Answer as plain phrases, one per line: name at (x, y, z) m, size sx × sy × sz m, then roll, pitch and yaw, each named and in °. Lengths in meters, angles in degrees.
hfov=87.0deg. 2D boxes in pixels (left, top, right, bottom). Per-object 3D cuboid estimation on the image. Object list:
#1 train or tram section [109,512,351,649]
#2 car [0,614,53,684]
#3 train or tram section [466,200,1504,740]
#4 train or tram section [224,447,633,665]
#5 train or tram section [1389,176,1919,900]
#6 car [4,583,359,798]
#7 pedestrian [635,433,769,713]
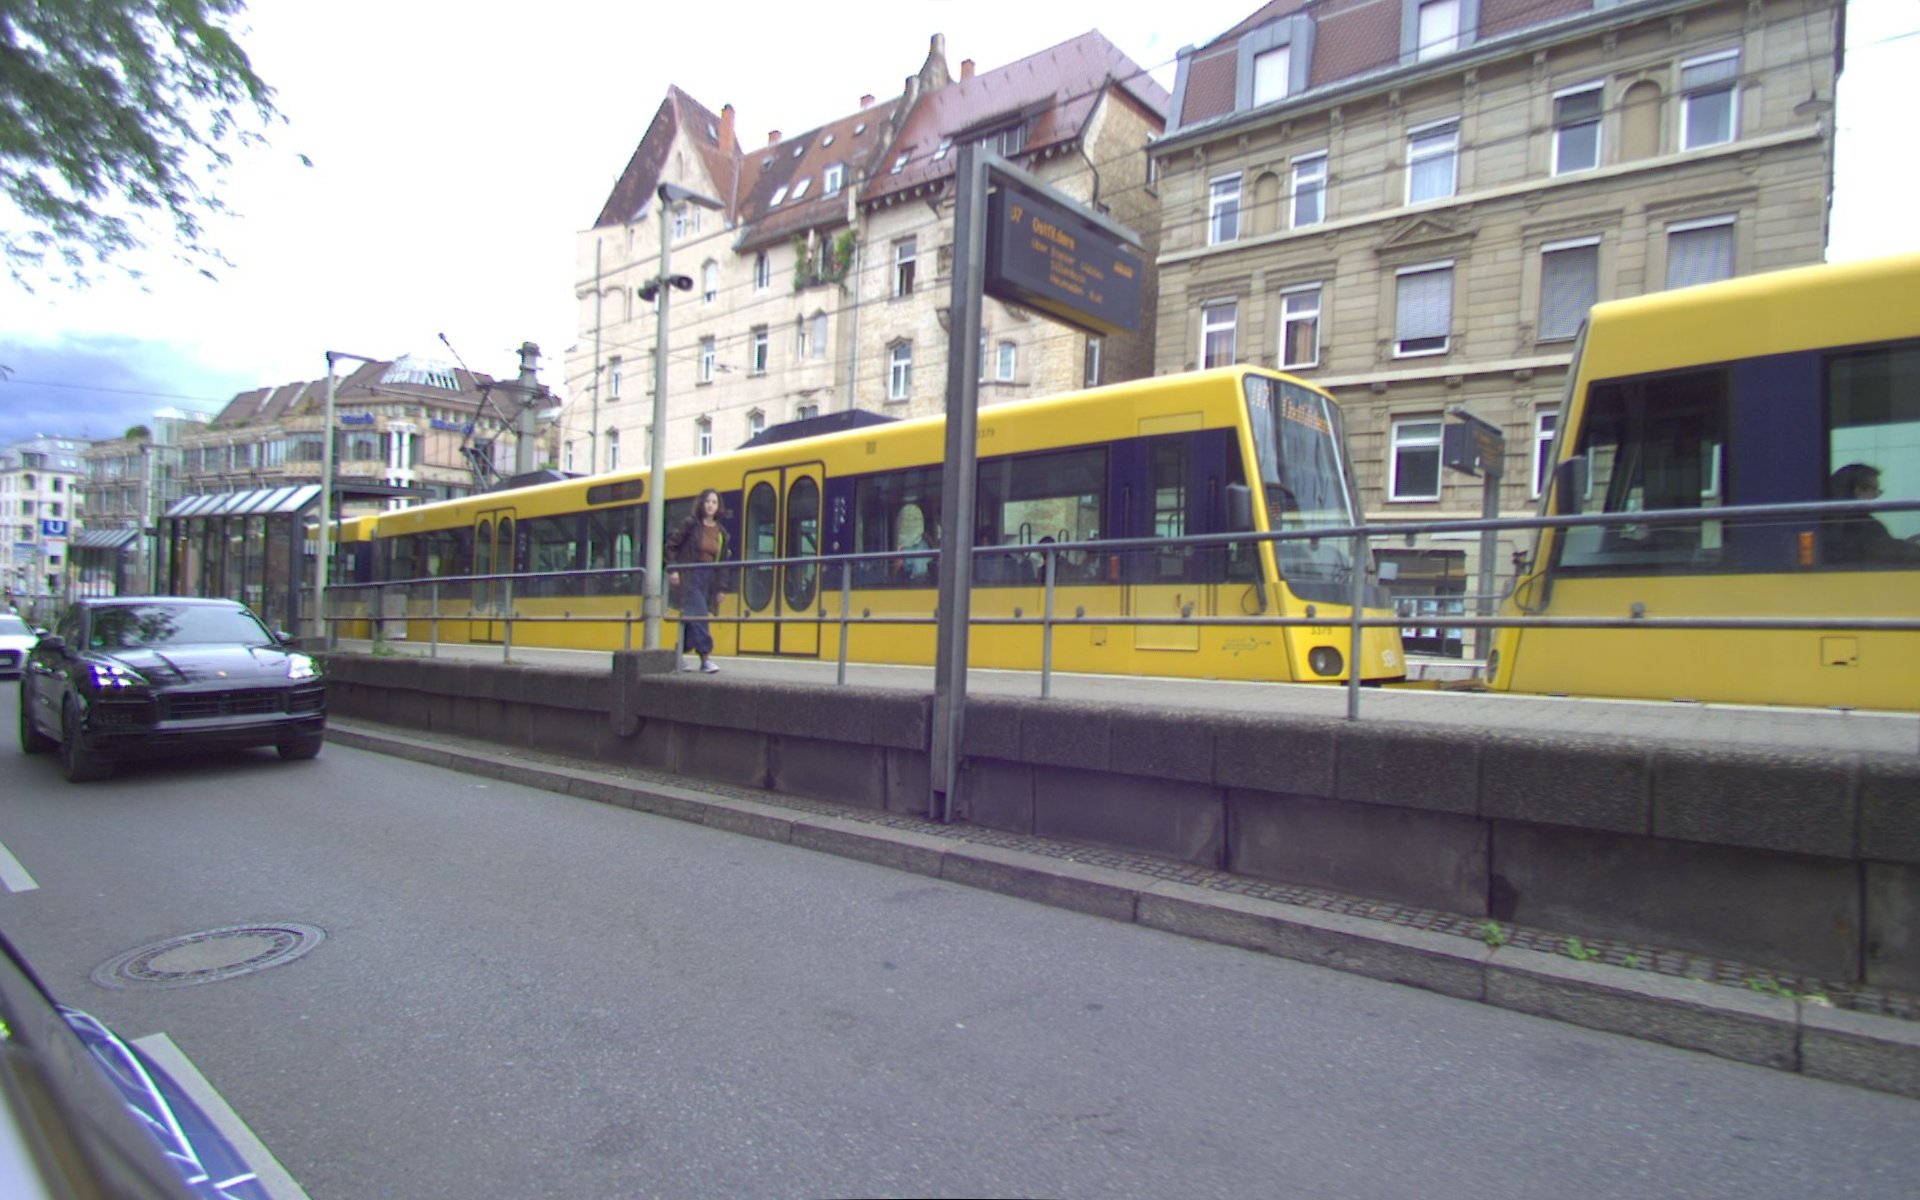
train or tram section at (-22.921, -0.409, 31.173) m, size 14.222 × 3.445 × 2.852 m, roll -1°, pitch 0°, yaw 41°
car at (-22.405, 1.085, 23.209) m, size 4.529 × 1.486 × 1.872 m, roll -1°, pitch -1°, yaw 41°
train or tram section at (-1.522, -0.791, 12.513) m, size 14.222 × 3.585 × 2.892 m, roll -1°, pitch 0°, yaw 41°
train or tram section at (-12.236, -0.628, 21.900) m, size 14.222 × 3.467 × 2.852 m, roll -1°, pitch 0°, yaw 41°
train or tram section at (9.257, -0.416, 3.326) m, size 14.217 × 3.692 × 2.852 m, roll -3°, pitch -5°, yaw 40°
car at (-8.114, 0.756, 10.360) m, size 4.779 × 1.698 × 2.006 m, roll -1°, pitch -1°, yaw 41°
pedestrian at (-2.250, -0.210, 8.859) m, size 0.772 × 2.302 × 0.827 m, roll -1°, pitch -2°, yaw 41°
